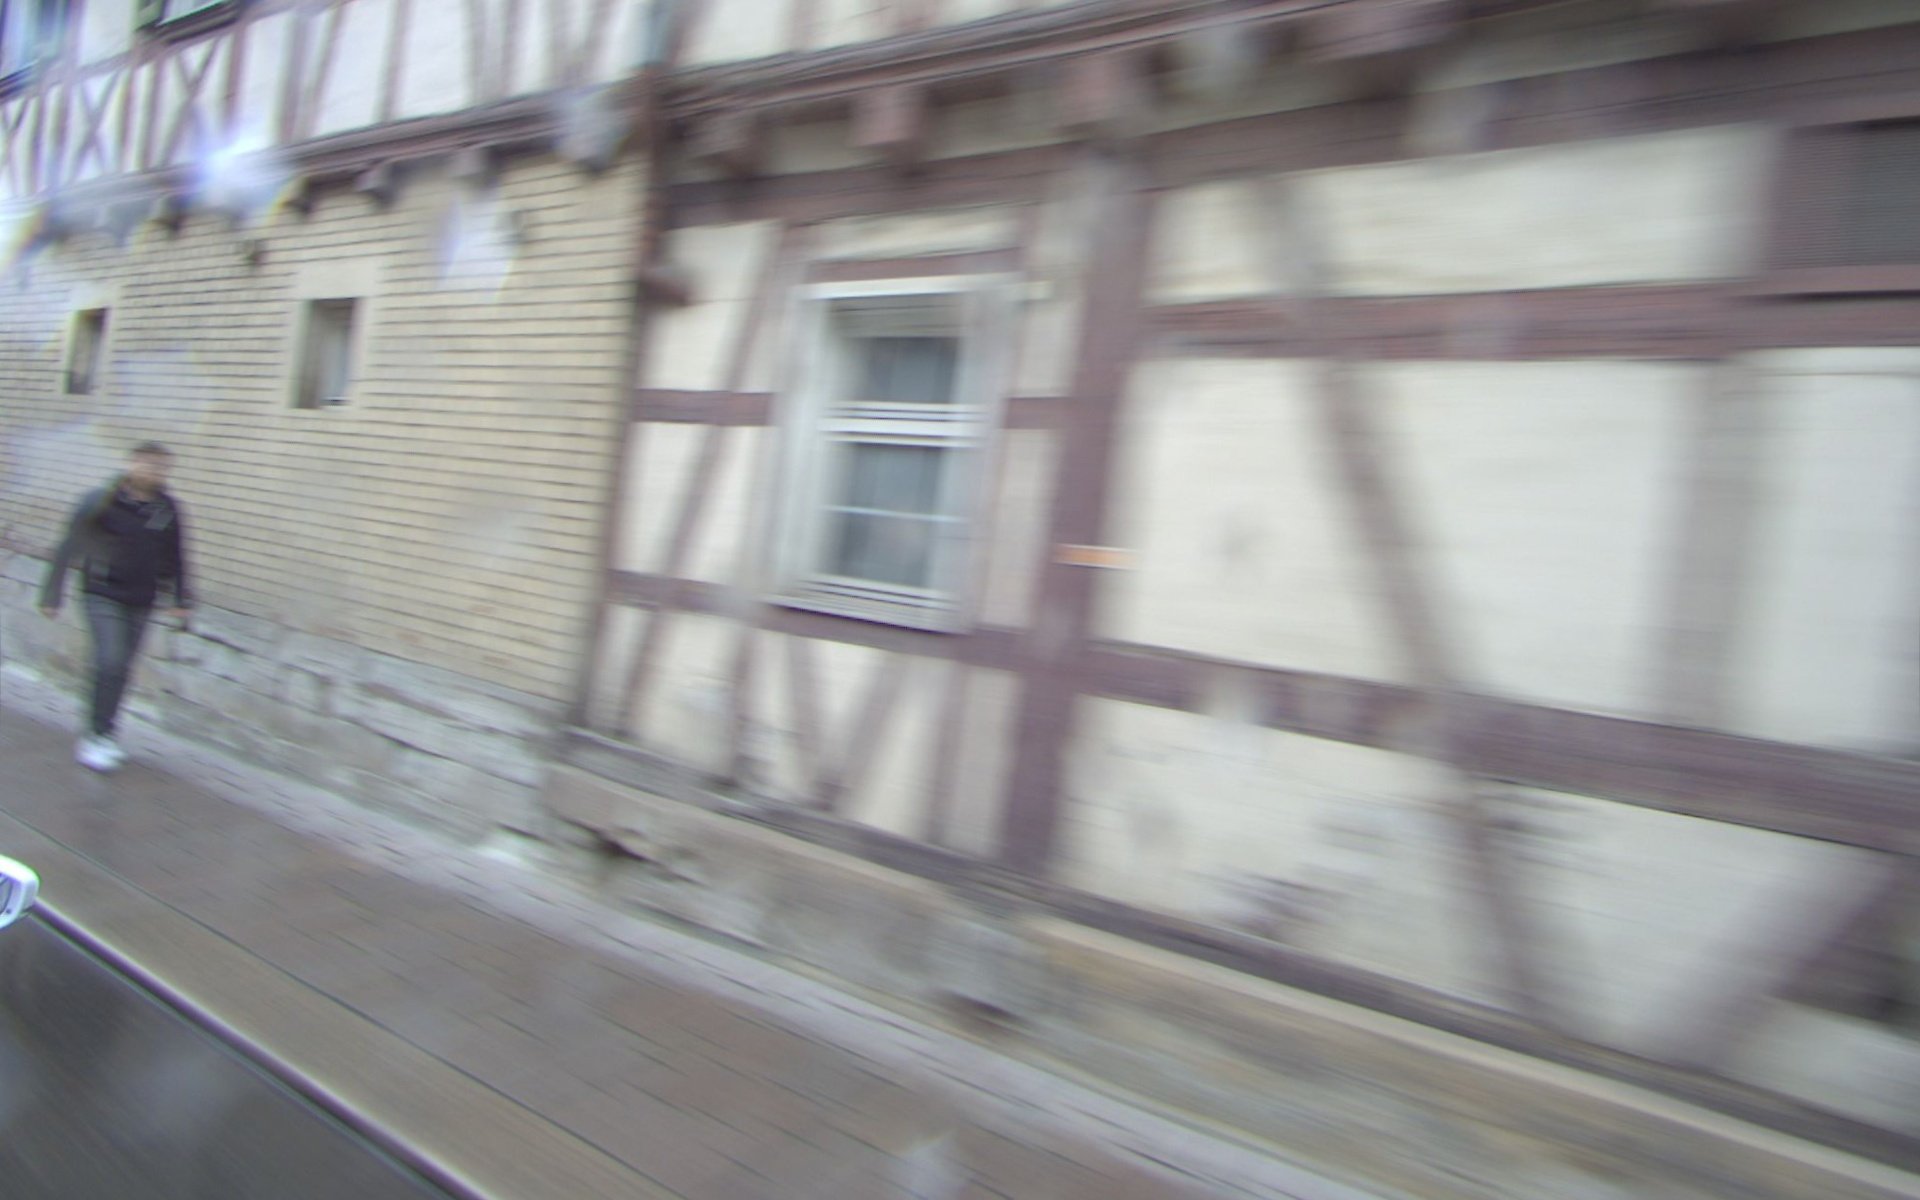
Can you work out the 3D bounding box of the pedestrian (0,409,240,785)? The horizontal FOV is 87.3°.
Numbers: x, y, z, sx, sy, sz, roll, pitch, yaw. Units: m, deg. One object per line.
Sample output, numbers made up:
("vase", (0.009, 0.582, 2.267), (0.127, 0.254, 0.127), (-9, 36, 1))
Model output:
("pedestrian", (-4.834, -0.033, 5.690), (0.892, 1.910, 0.811), (8, 2, 28))
